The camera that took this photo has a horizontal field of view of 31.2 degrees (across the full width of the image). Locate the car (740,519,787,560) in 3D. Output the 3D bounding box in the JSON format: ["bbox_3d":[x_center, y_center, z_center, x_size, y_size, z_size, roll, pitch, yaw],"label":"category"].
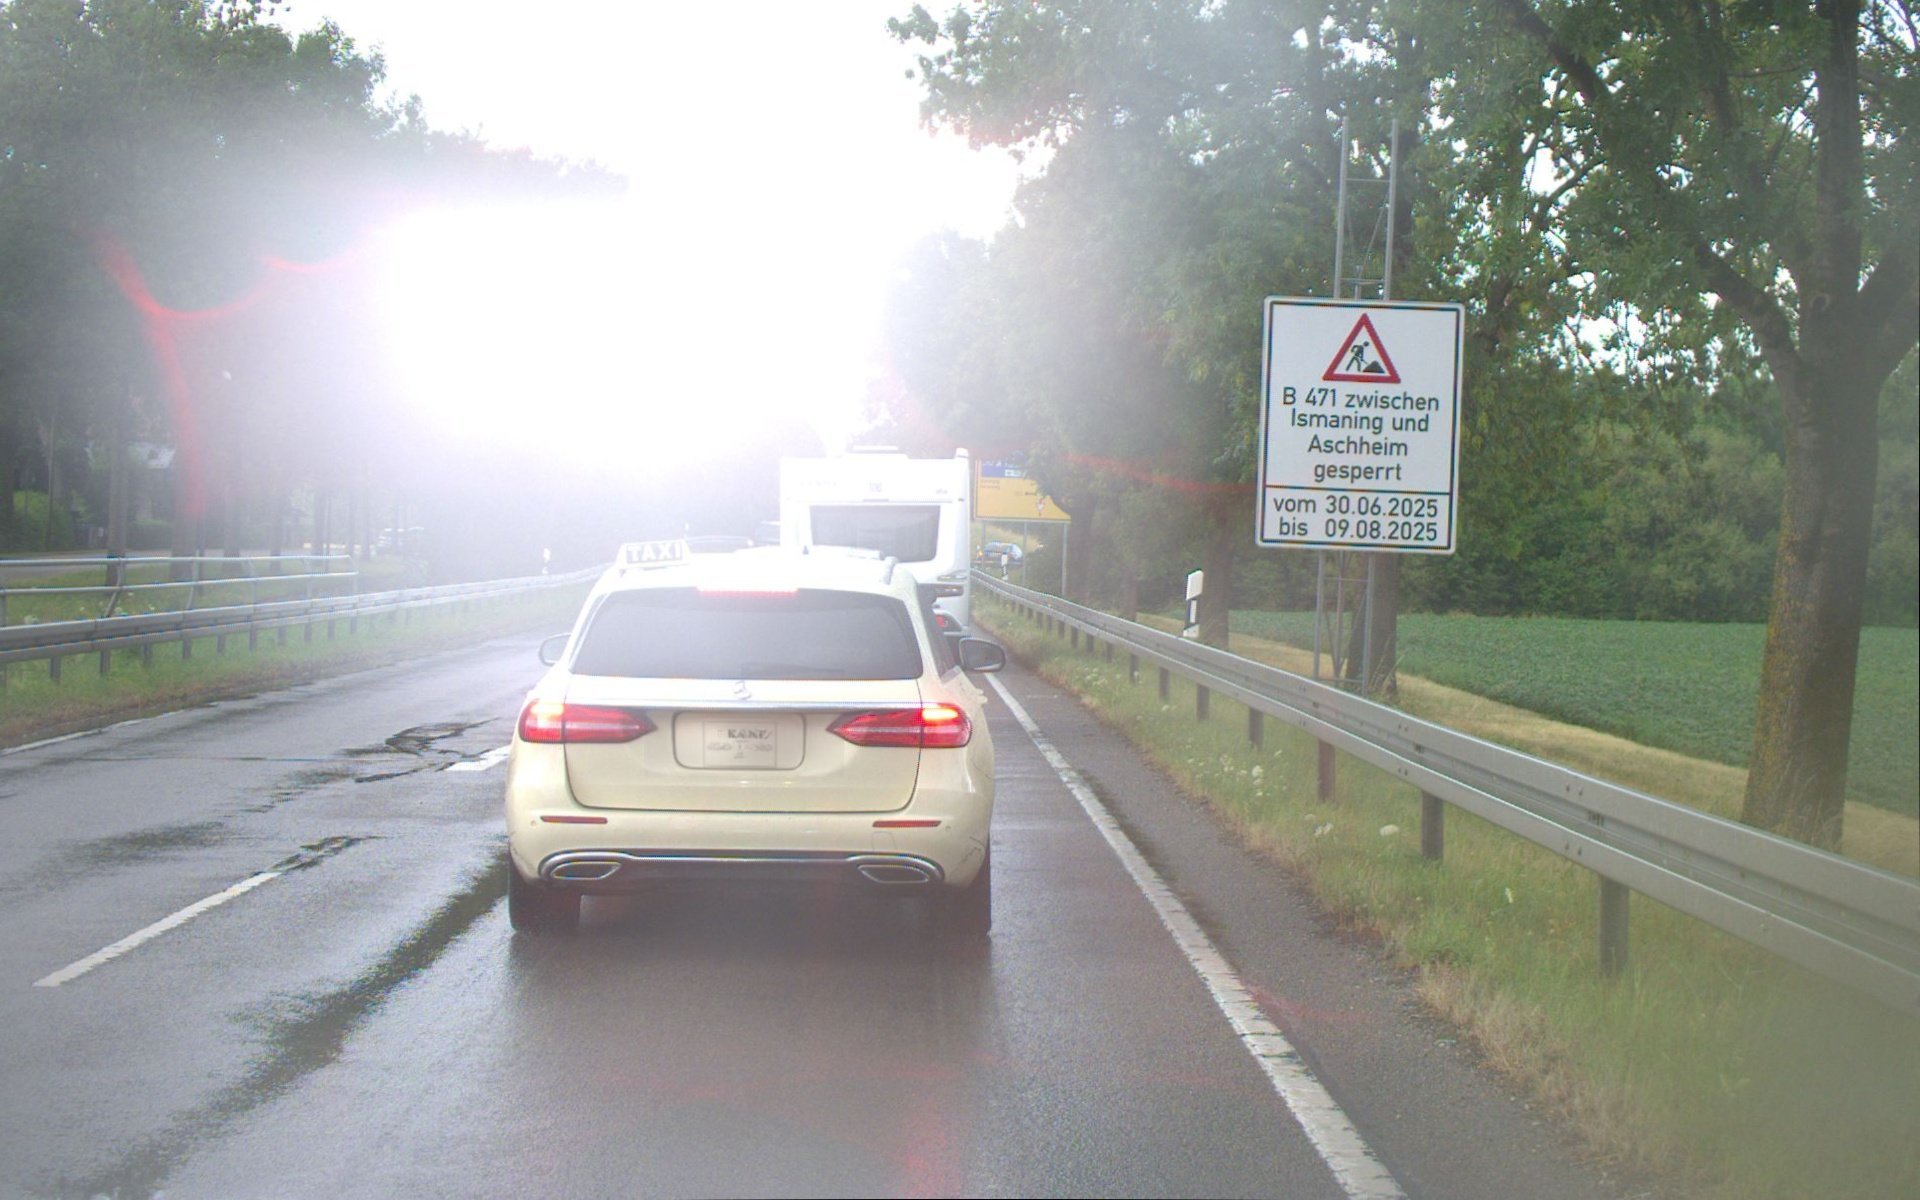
[{"bbox_3d":[-7.773,-2.412,136.362,1.764,1.614,4.000,0,1,-2],"label":"car"}]

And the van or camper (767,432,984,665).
[{"bbox_3d":[-0.986,-0.658,43.112,2.489,2.676,5.700,1,1,0],"label":"van or camper"}]

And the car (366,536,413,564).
[{"bbox_3d":[-30.333,-2.682,182.800,1.785,1.411,4.000,2,1,0],"label":"car"}]

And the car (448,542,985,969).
[{"bbox_3d":[-0.849,0.510,13.987,1.865,1.471,4.000,0,1,0],"label":"car"}]

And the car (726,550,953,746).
[{"bbox_3d":[-0.895,0.323,27.485,1.664,1.426,4.000,0,1,0],"label":"car"}]

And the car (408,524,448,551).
[{"bbox_3d":[-30.345,-3.572,196.241,1.785,1.411,4.001,2,1,-3],"label":"car"}]
